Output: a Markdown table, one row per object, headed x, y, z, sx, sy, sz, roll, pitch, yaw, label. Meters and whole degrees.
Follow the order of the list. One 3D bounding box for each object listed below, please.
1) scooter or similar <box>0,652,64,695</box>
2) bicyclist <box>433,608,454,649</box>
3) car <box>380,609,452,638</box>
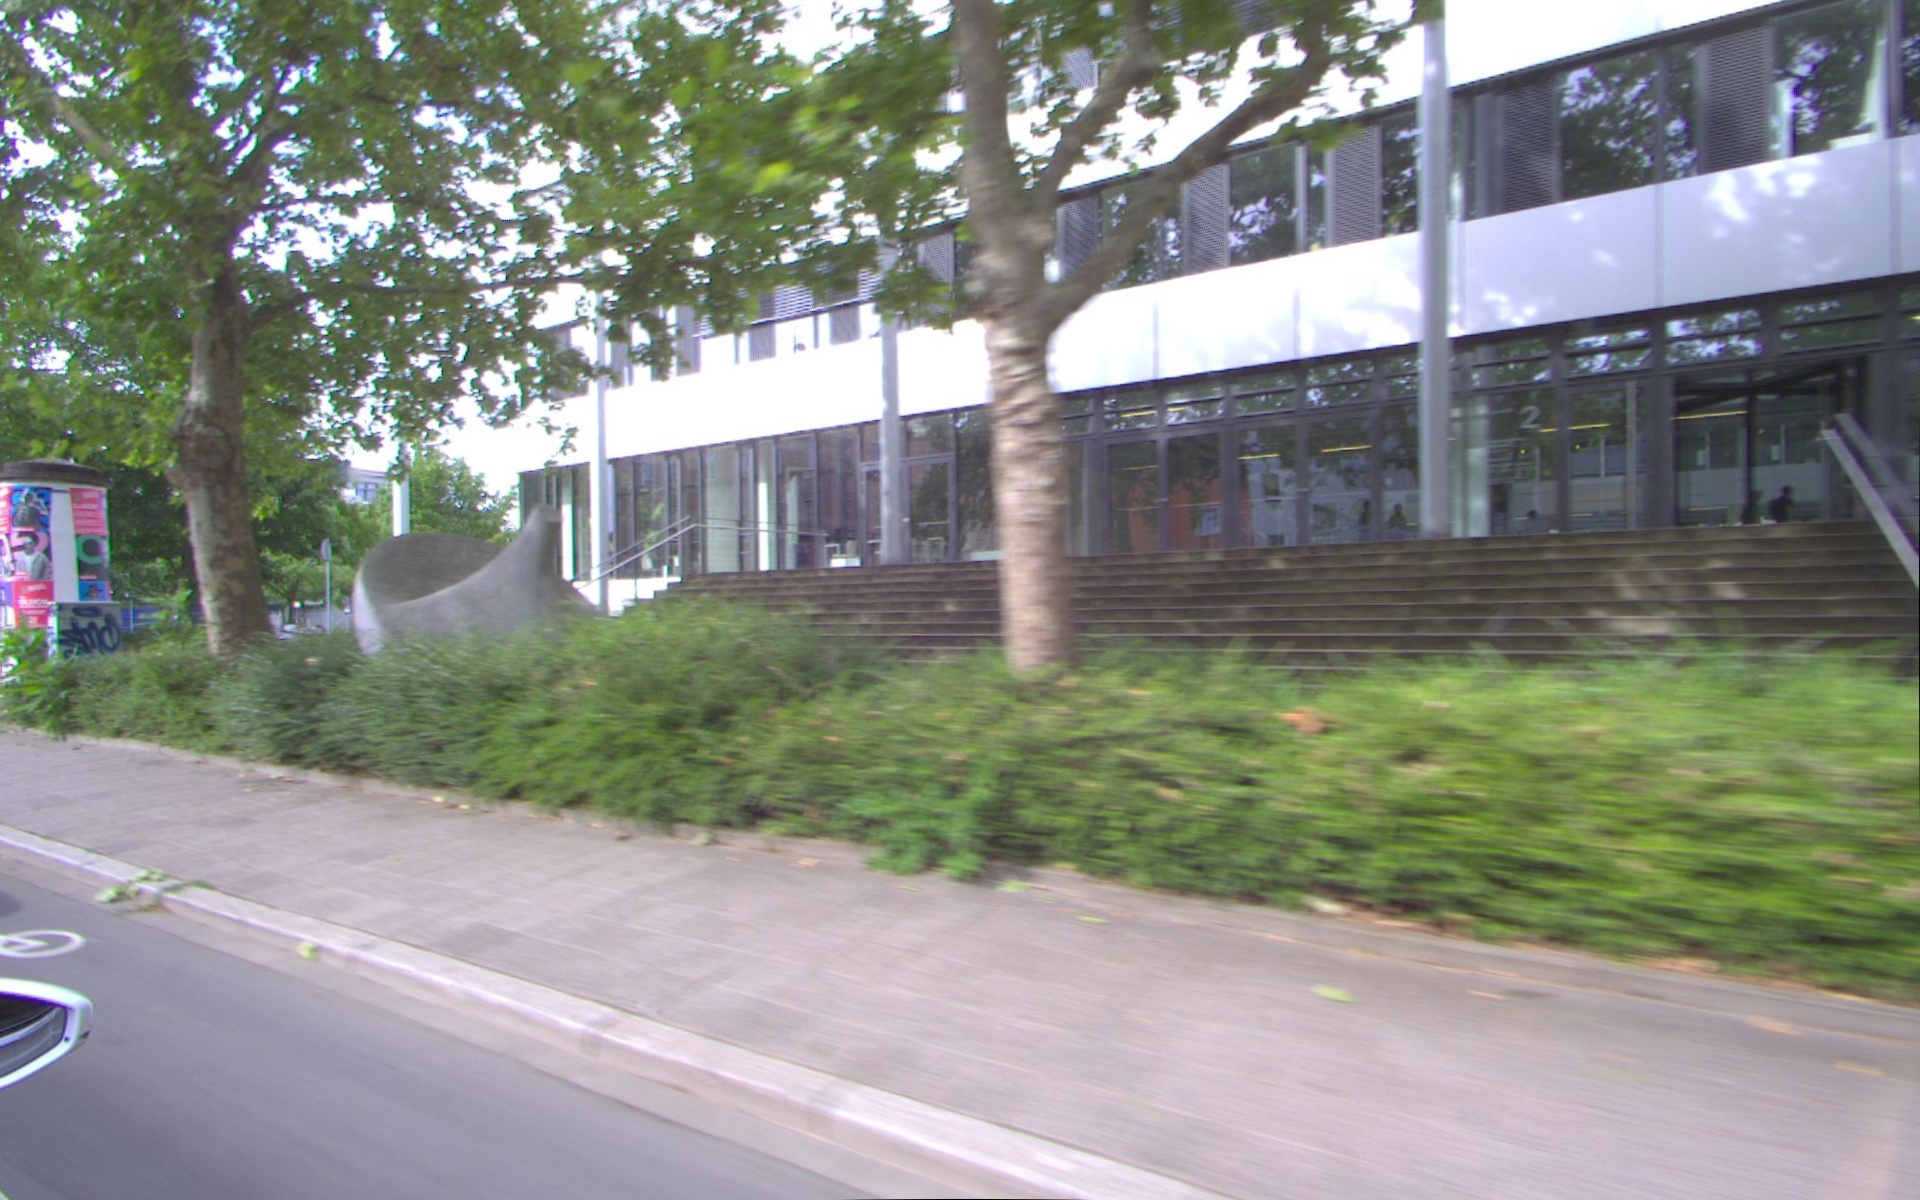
| x | y | z | sx | sy | sz | roll | pitch | yaw | label |
| --- | --- | --- | --- | --- | --- | --- | --- | --- | --- |
| -17.485 | 1.360 | 18.582 | 0.364 | 0.746 | 1.217 | 0 | 0 | 31 | scooter or similar |
| -21.026 | 1.154 | 40.790 | 0.528 | 1.640 | 0.567 | 0 | 1 | 32 | bicyclist |
| -32.538 | 1.390 | 59.846 | 4.091 | 1.673 | 1.958 | -1 | 0 | 30 | car |
